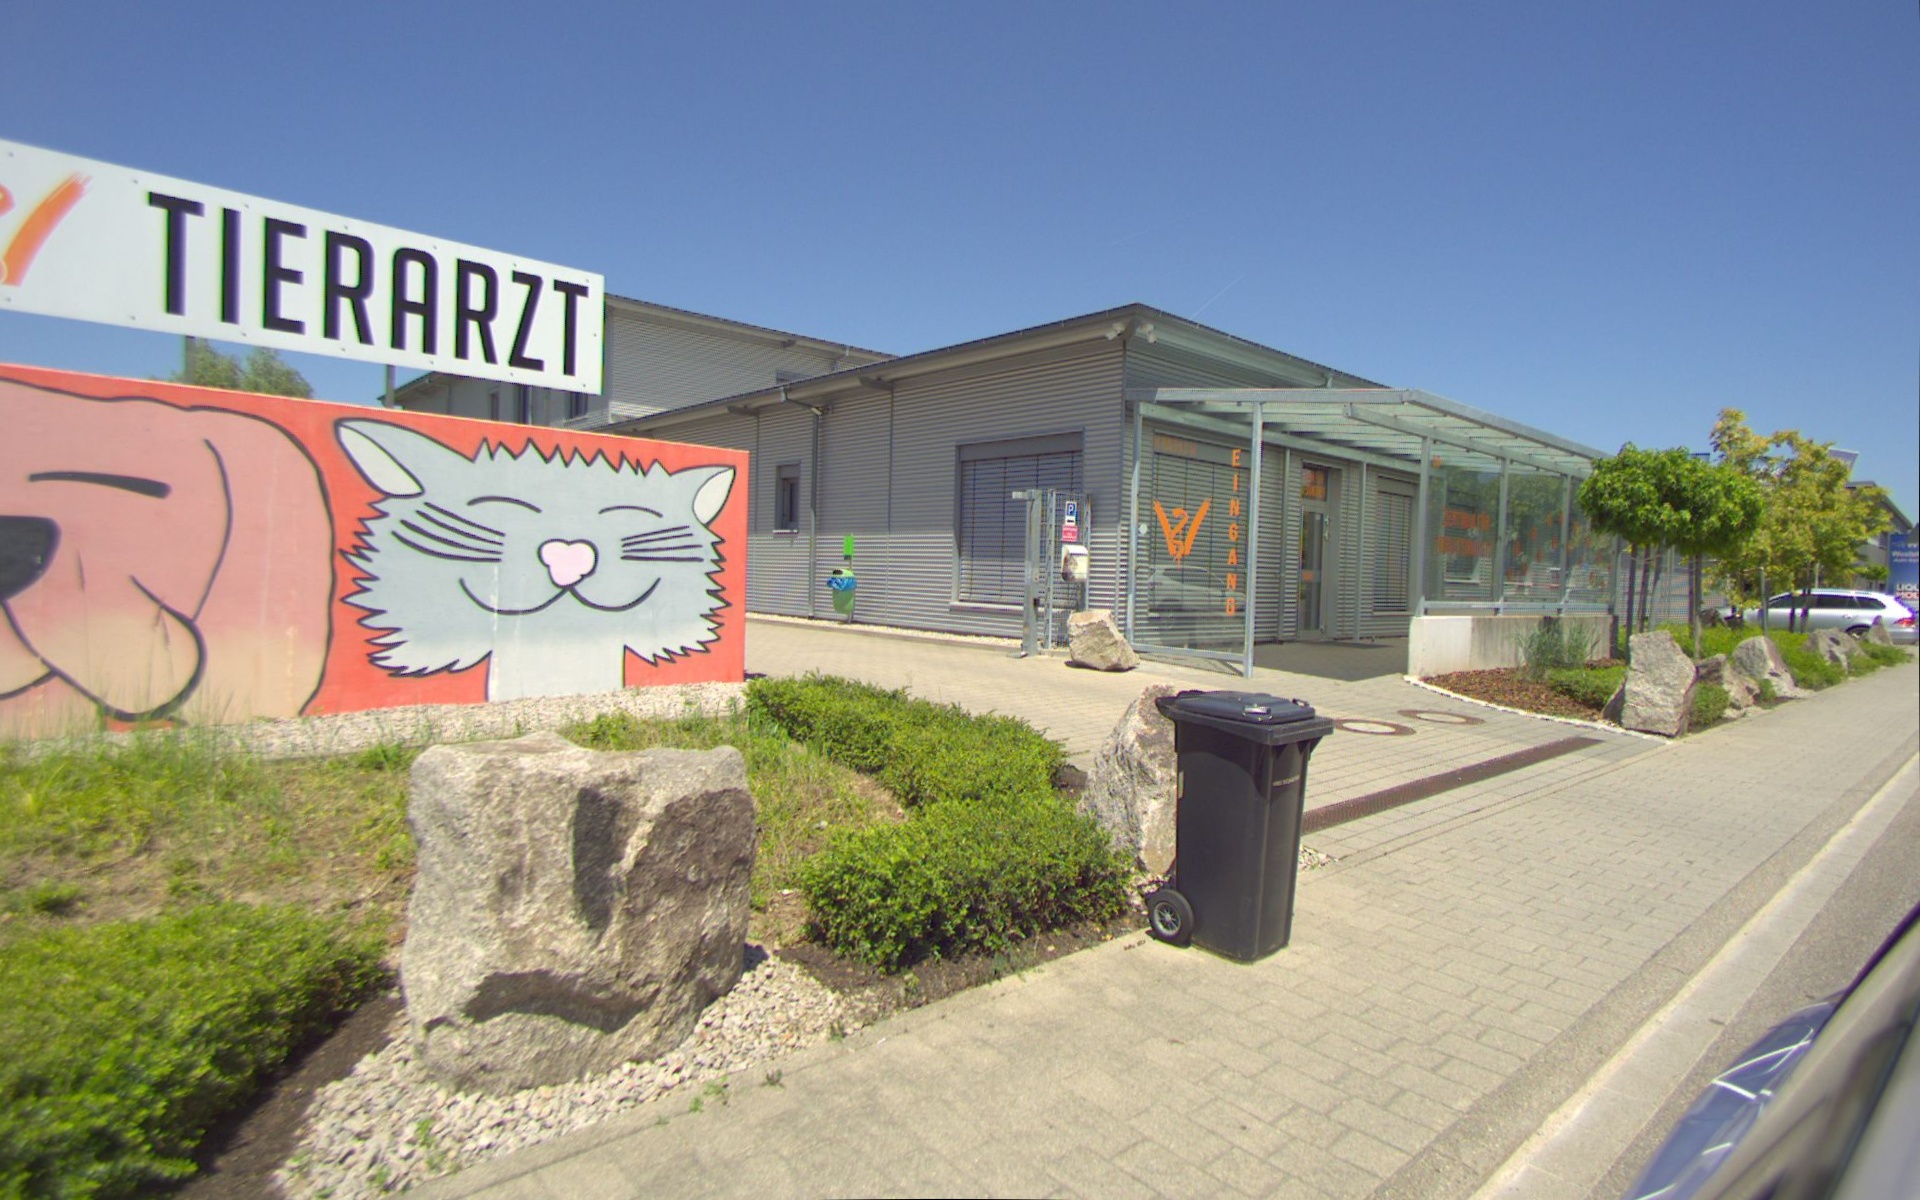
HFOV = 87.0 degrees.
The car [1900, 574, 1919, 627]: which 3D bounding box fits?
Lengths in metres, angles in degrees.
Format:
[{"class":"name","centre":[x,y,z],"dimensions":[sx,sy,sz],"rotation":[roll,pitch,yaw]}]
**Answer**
[{"class":"car","centre":[39.577,0.061,40.695],"dimensions":[5.243,2.038,1.998],"rotation":[0,2,-41]}]

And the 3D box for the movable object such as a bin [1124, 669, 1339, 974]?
[{"class":"movable object such as a bin","centre":[1.025,0.784,3.841],"dimensions":[0.530,0.958,0.559],"rotation":[0,3,-43]}]

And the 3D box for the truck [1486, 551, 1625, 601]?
[{"class":"truck","centre":[31.625,-1.336,53.953],"dimensions":[2.142,2.399,5.947],"rotation":[0,3,-40]}]

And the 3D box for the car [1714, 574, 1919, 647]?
[{"class":"car","centre":[22.077,0.226,25.794],"dimensions":[1.881,1.560,4.284],"rotation":[0,3,-44]}]
